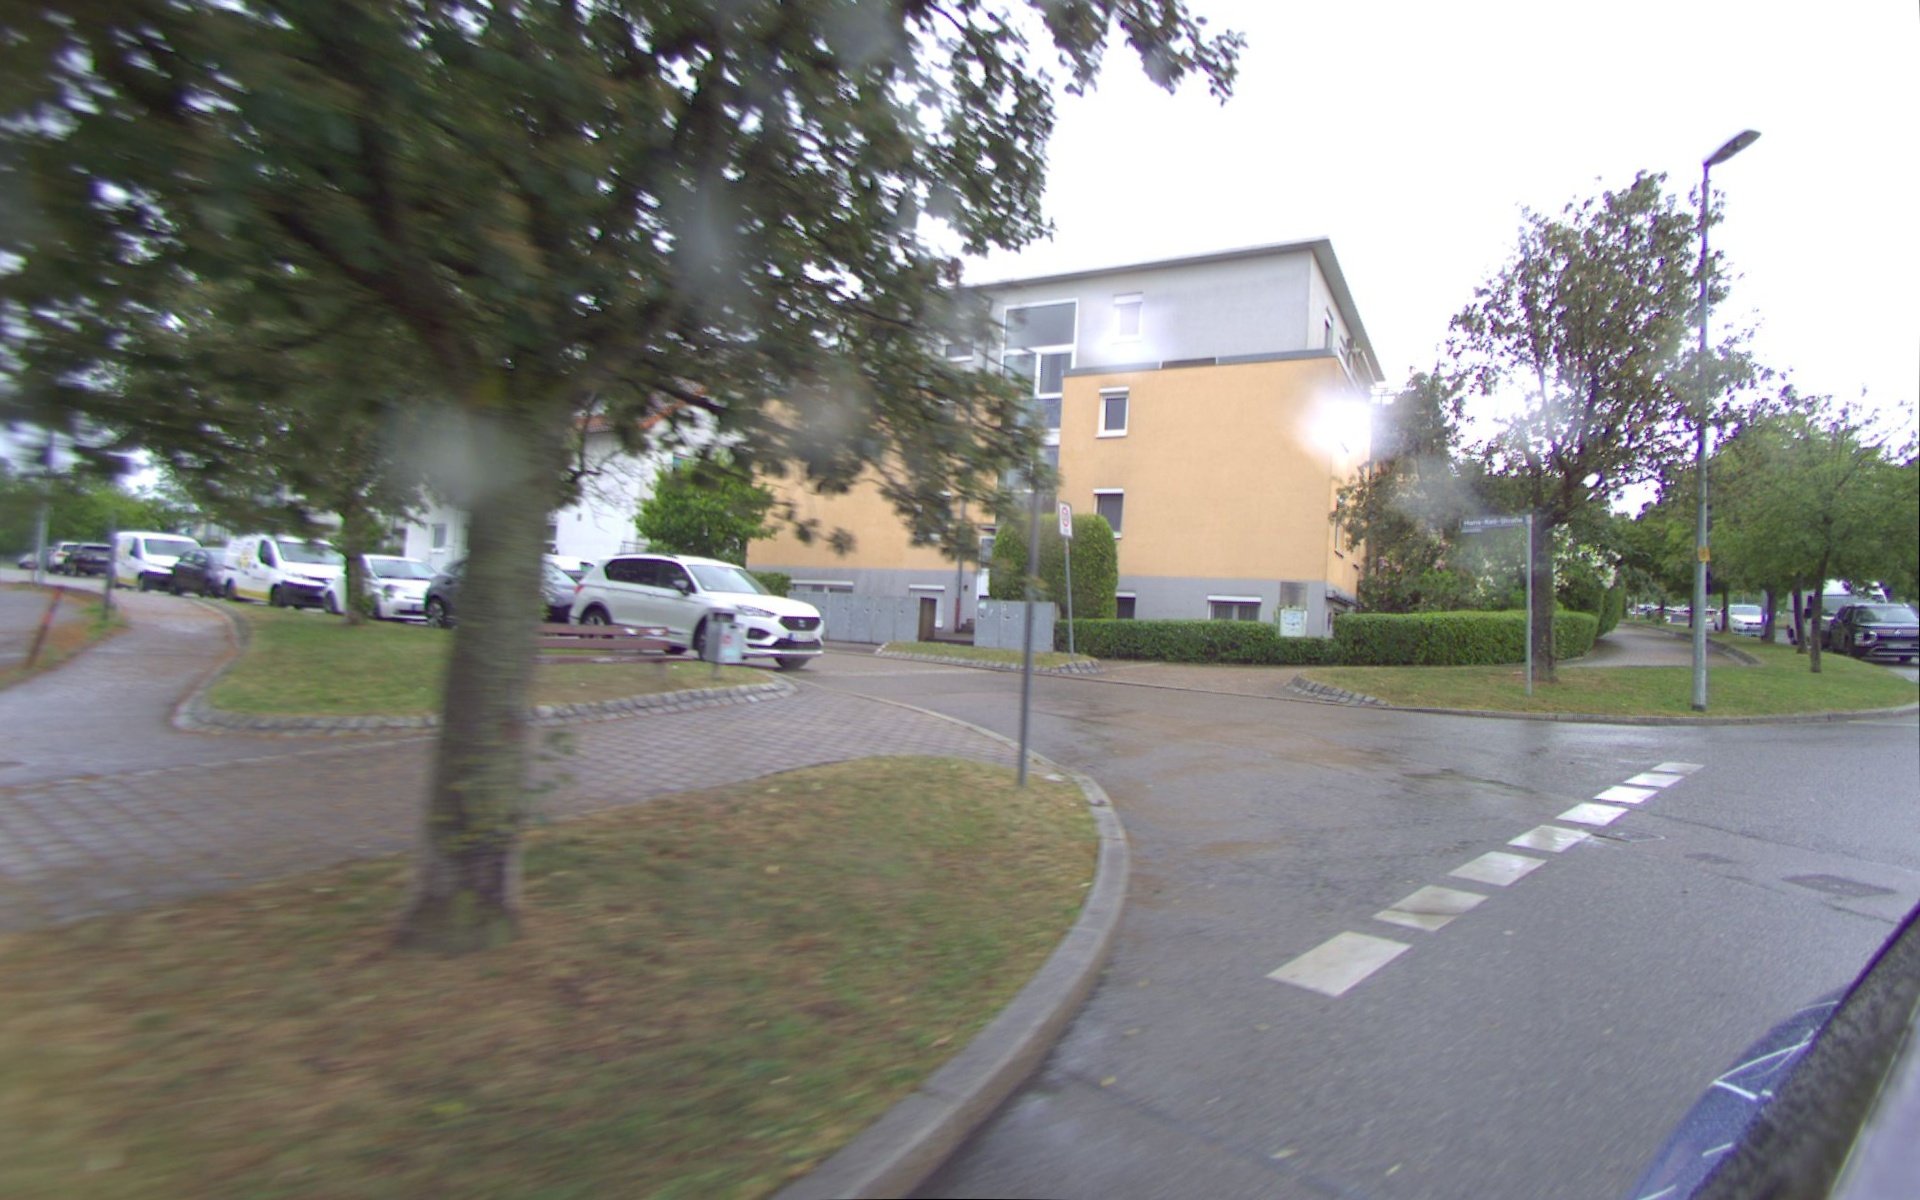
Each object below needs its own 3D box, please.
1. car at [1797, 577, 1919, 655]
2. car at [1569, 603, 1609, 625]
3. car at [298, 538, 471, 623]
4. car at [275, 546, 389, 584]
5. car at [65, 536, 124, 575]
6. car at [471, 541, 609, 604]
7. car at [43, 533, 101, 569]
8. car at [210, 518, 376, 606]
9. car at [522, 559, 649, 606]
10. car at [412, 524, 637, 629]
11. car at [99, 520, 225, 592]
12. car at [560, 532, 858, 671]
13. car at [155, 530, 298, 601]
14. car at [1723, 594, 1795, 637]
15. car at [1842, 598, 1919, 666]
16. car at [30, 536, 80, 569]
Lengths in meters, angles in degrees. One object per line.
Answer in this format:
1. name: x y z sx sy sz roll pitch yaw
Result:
1. car: 29.964 0.488 33.944 2.037 2.360 5.348 1 0 30
2. car: 58.099 1.282 93.530 1.948 1.871 3.982 1 1 15
3. car: -12.597 -0.440 22.093 3.805 1.689 1.812 2 1 35
4. car: -27.652 -1.536 44.671 1.817 1.513 3.898 3 2 33
5. car: -41.686 -2.146 48.719 1.900 1.721 3.991 1 2 -44
6. car: -14.548 -0.931 35.203 1.988 2.038 3.950 3 2 35
7. car: -46.335 -2.564 52.763 3.987 1.762 1.875 4 2 43
8. car: -16.513 -0.917 24.984 4.394 1.953 1.907 2 -1 35
9. car: -12.406 -0.559 33.694 1.711 1.433 3.640 3 2 33
10. car: -8.146 -0.420 18.871 3.990 1.754 1.932 2 -1 33
11. car: -24.367 -1.304 30.861 4.133 1.995 1.930 1 -1 36
12. car: -4.058 -0.071 16.036 4.683 1.837 1.924 4 2 34
13. car: -19.941 -0.912 27.476 3.995 1.754 1.930 2 -1 36
14. car: 37.152 0.678 47.158 1.807 1.807 3.785 1 2 26
15. car: 26.743 0.864 28.932 1.806 1.748 4.593 1 1 35
16. car: -56.933 -2.961 63.734 2.155 1.899 3.995 1 0 -40
